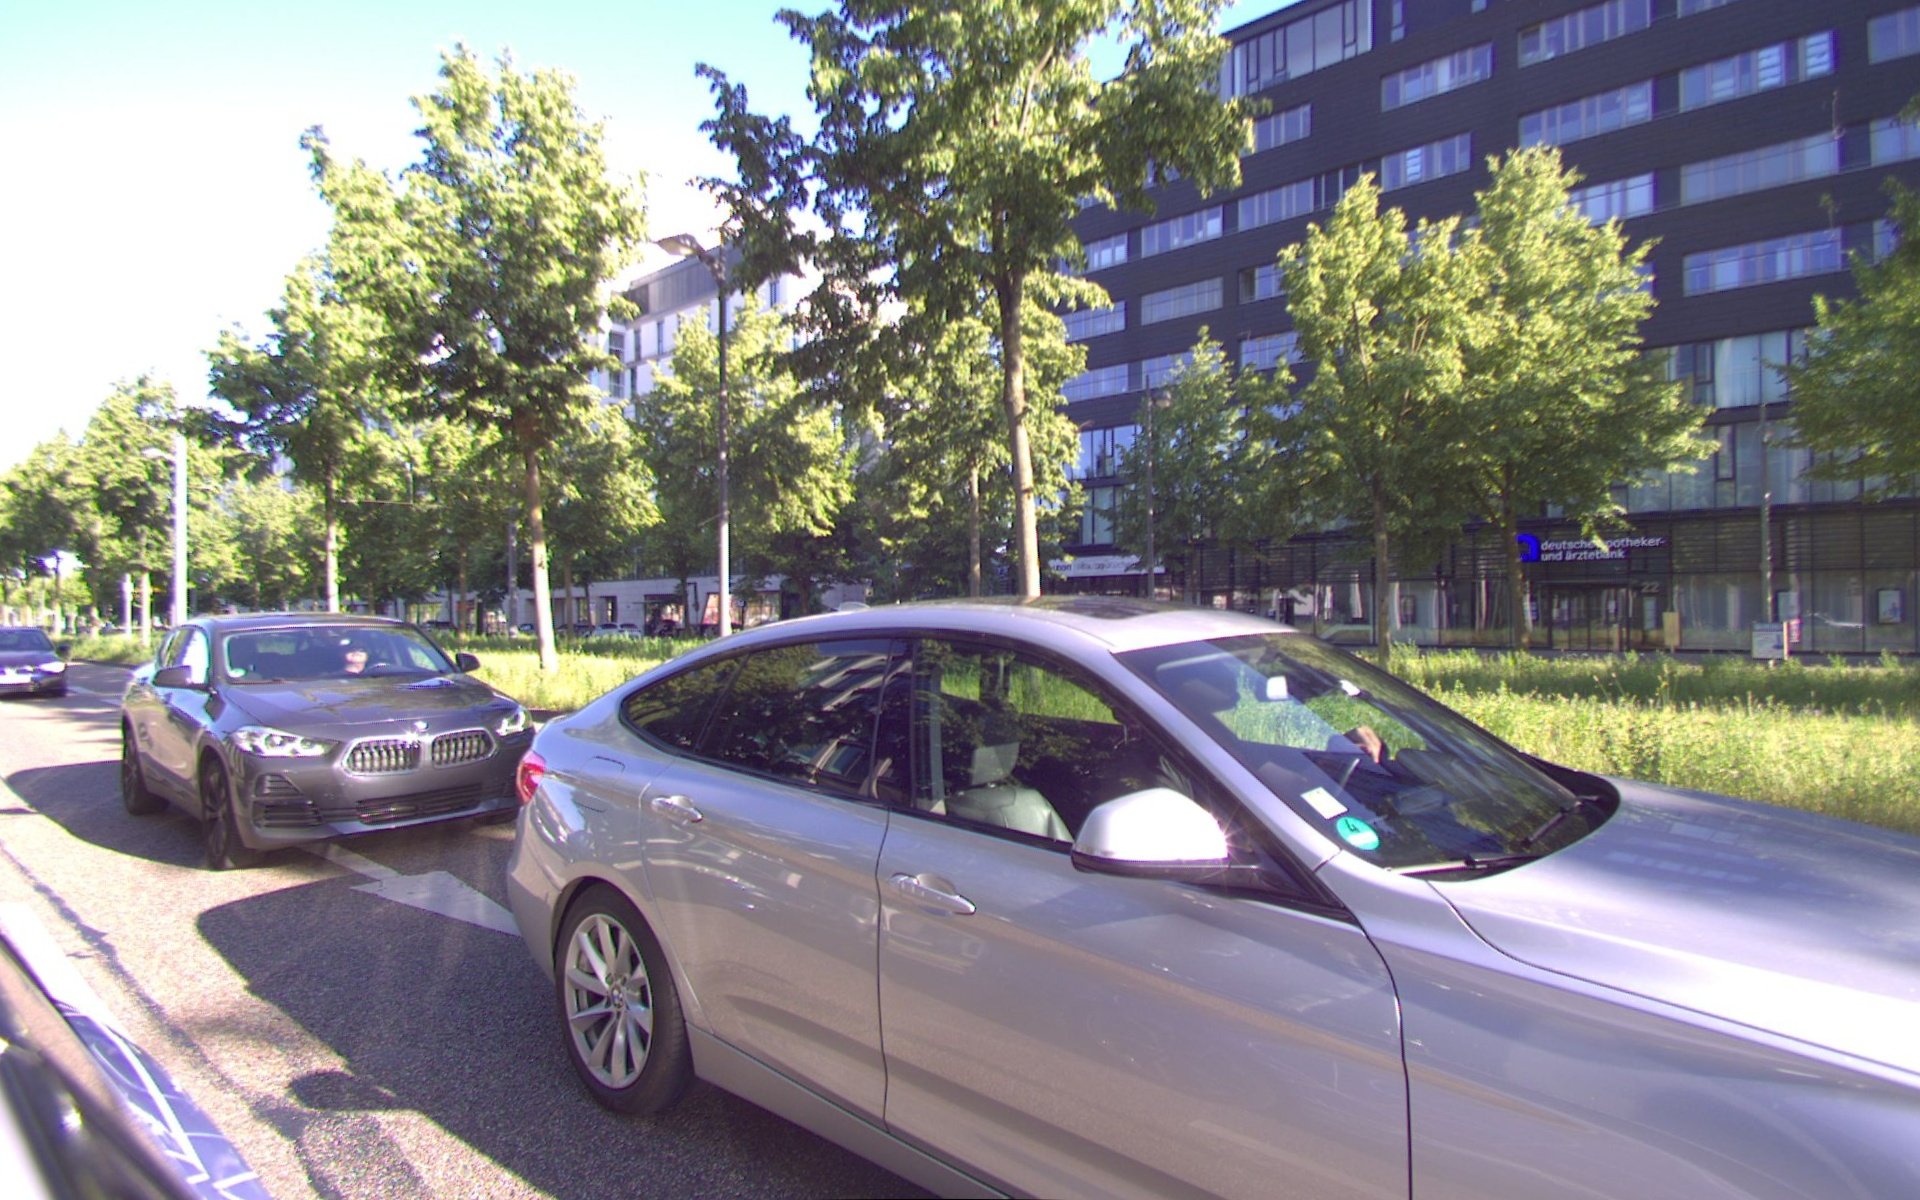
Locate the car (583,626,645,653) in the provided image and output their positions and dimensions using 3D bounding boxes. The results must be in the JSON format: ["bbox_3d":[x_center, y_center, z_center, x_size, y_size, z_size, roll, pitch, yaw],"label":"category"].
[{"bbox_3d":[-21.606,2.461,63.183,4.182,1.609,1.859,-2,-1,41],"label":"car"}]

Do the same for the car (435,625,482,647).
[{"bbox_3d":[-38.660,2.732,77.980,4.182,1.609,1.859,-2,-1,41],"label":"car"}]

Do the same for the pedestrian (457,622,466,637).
[{"bbox_3d":[-45.532,2.734,92.447,0.660,1.349,0.597,-2,-1,41],"label":"pedestrian"}]

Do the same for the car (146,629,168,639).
[{"bbox_3d":[-114.613,4.807,144.505,4.001,1.406,1.971,-2,-2,44],"label":"car"}]

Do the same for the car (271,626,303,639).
[{"bbox_3d":[-72.521,3.494,109.070,3.998,1.406,1.972,-2,-2,41],"label":"car"}]

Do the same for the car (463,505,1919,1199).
[{"bbox_3d":[0.643,0.675,2.596,4.558,1.495,1.800,-1,-1,40],"label":"car"}]

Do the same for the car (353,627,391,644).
[{"bbox_3d":[-52.416,3.152,90.163,4.001,1.406,1.971,-2,-2,44],"label":"car"}]

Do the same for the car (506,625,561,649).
[{"bbox_3d":[-29.719,2.586,70.473,4.182,1.609,1.859,-2,-1,41],"label":"car"}]

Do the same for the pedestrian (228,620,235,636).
[{"bbox_3d":[-91.386,3.504,127.000,0.619,2.029,0.577,-2,-1,41],"label":"pedestrian"}]

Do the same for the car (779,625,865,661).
[{"bbox_3d":[-6.759,2.072,49.392,4.182,1.609,1.926,-2,-1,41],"label":"car"}]

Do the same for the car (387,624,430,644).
[{"bbox_3d":[-46.576,2.847,85.383,4.182,1.609,1.859,-2,-1,41],"label":"car"}]

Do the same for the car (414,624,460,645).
[{"bbox_3d":[-42.122,2.777,81.486,4.182,1.609,1.859,-2,-1,41],"label":"car"}]

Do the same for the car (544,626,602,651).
[{"bbox_3d":[-25.690,2.521,67.060,4.182,1.609,1.859,-2,-1,41],"label":"car"}]

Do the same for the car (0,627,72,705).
[{"bbox_3d":[-19.547,1.287,20.540,4.344,1.434,1.854,-1,-1,43],"label":"car"}]

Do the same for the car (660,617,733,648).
[{"bbox_3d":[-14.514,1.788,55.665,4.182,1.609,1.926,-2,-1,41],"label":"car"}]

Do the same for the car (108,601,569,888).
[{"bbox_3d":[-4.663,0.799,7.350,3.999,1.502,1.836,-1,-1,42],"label":"car"}]
